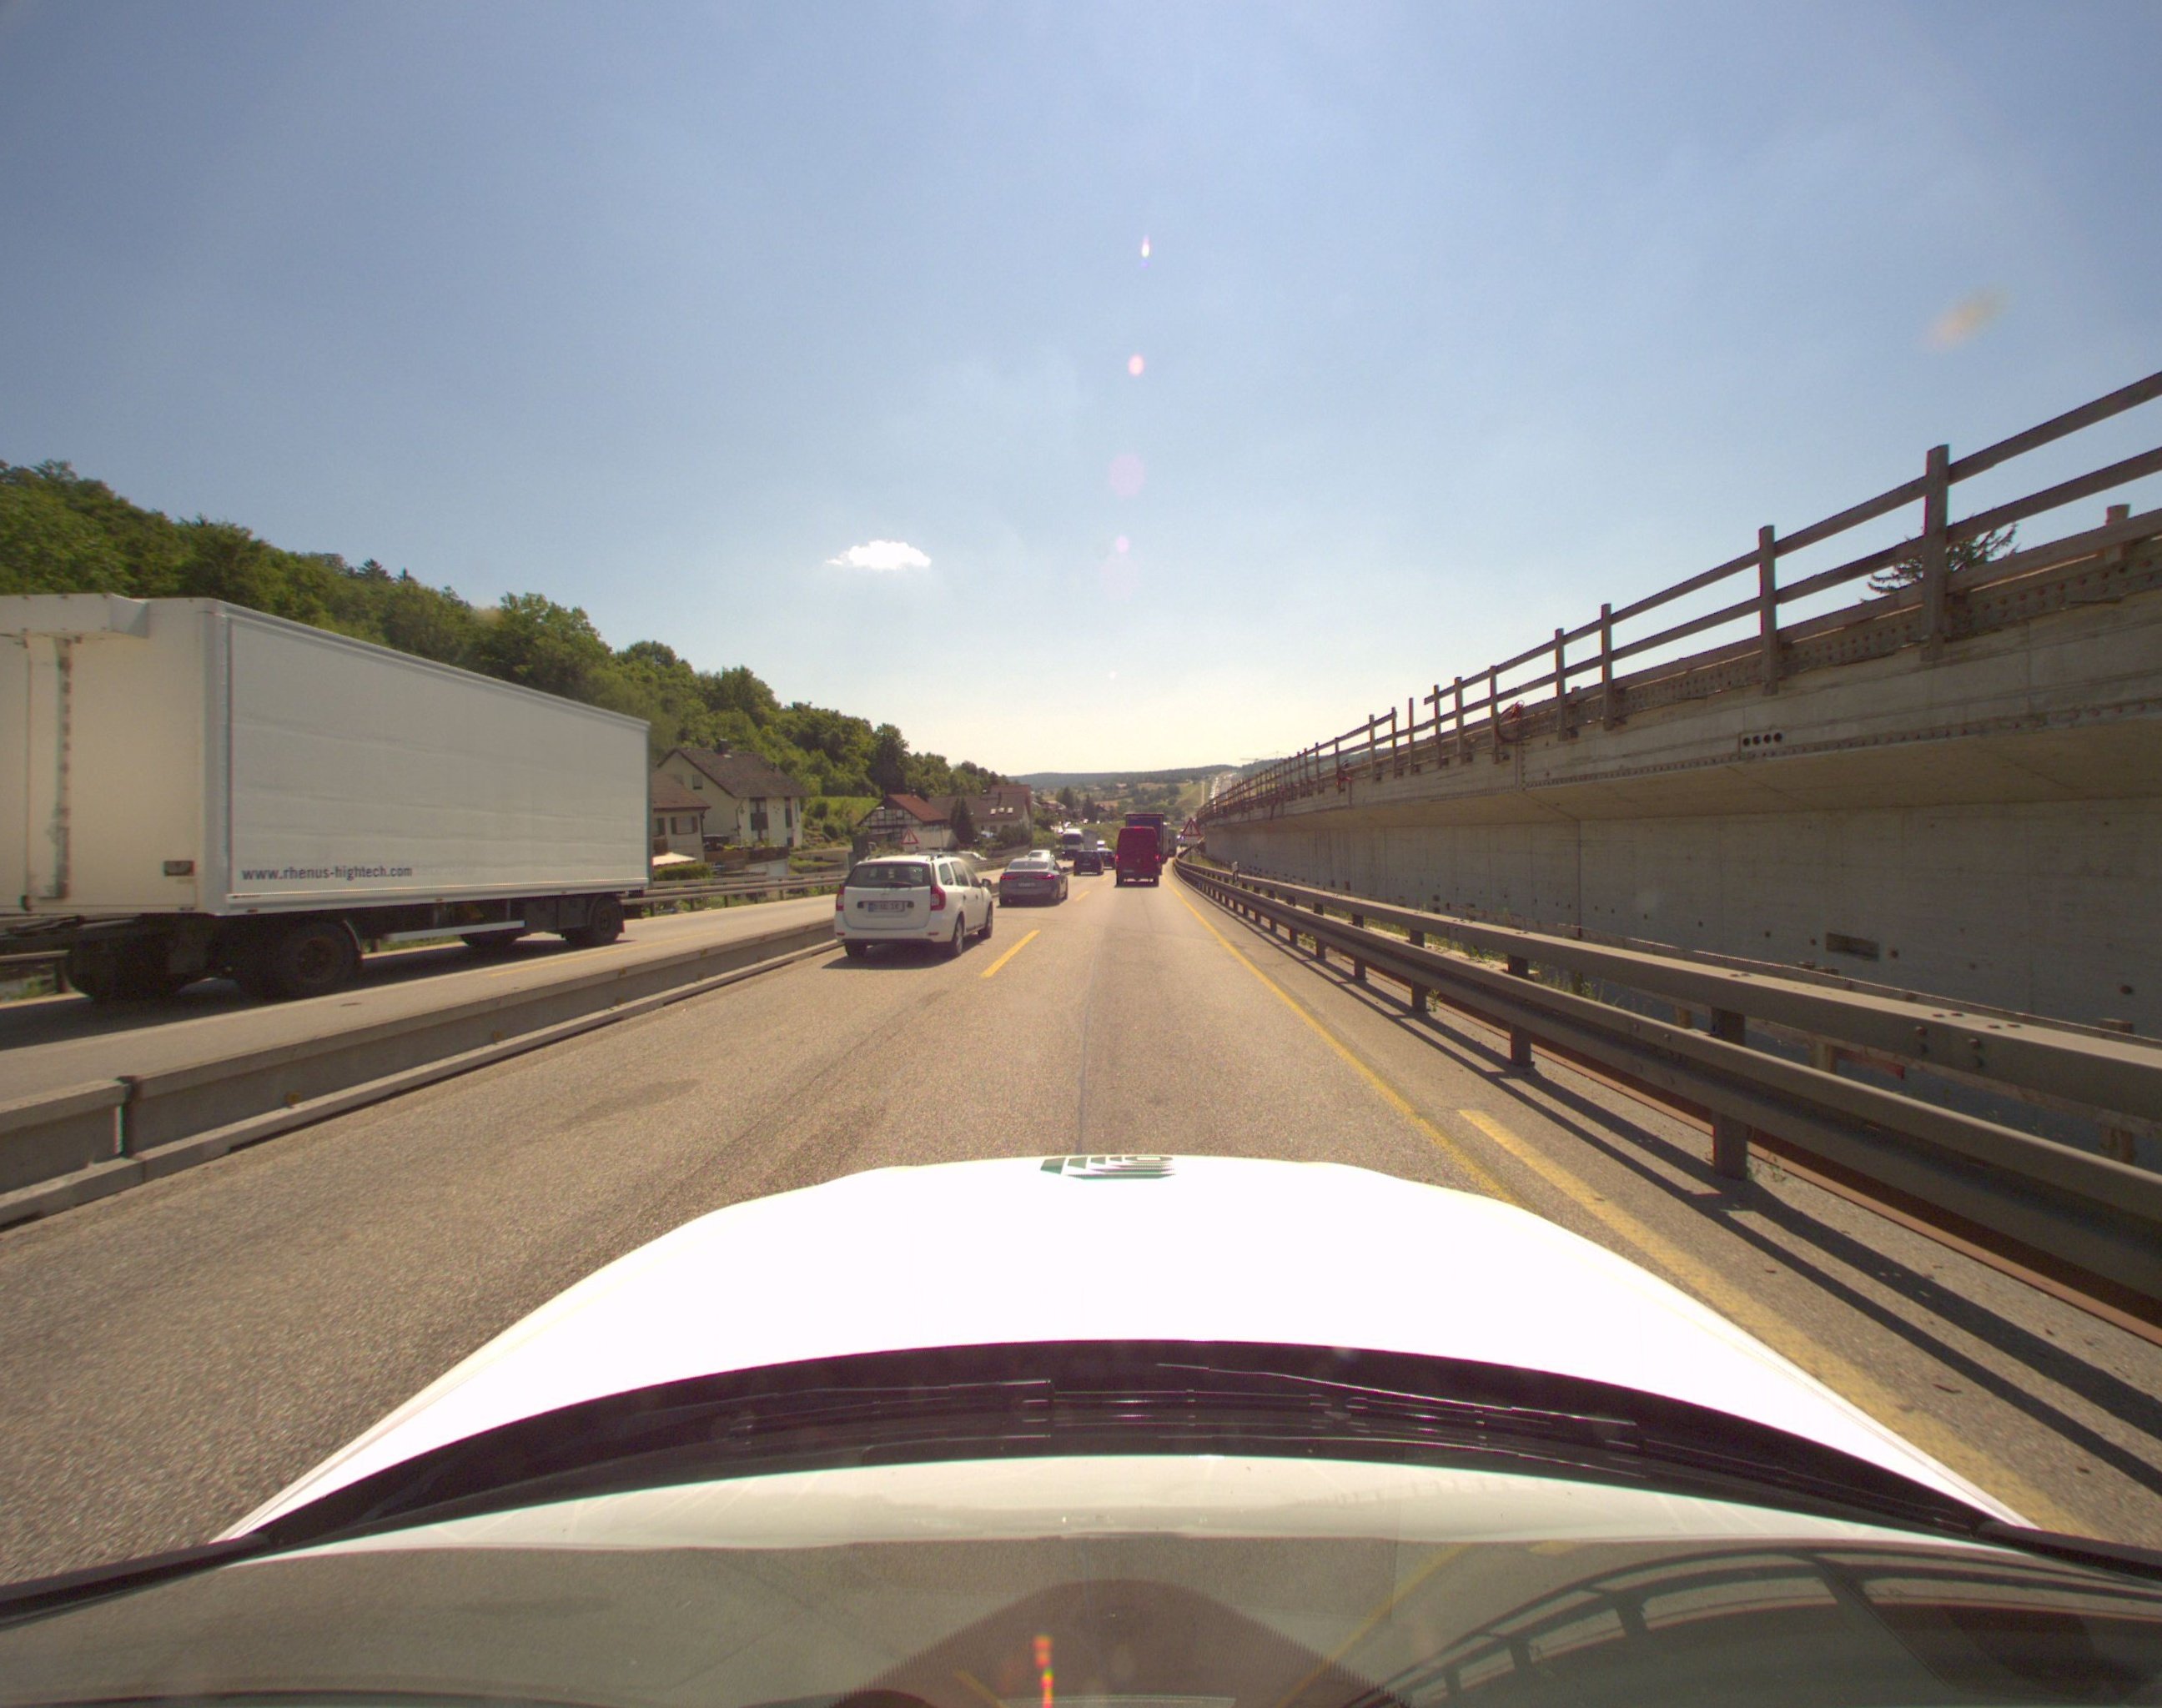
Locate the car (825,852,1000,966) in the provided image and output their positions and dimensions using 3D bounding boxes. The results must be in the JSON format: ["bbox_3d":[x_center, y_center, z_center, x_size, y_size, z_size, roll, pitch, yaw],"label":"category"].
[{"bbox_3d":[-2.531,0.773,13.284,1.644,1.483,4.270,-3,-1,4],"label":"car"}]

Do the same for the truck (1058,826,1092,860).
[{"bbox_3d":[-0.668,-1.361,101.536,3.117,4.079,6.895,-1,0,8],"label":"truck"}]

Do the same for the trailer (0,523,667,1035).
[{"bbox_3d":[-9.646,-0.596,11.170,2.992,4.165,9.022,-1,0,2],"label":"trailer"}]

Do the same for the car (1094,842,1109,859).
[{"bbox_3d":[3.399,-0.606,133.569,1.995,2.603,5.989,-1,0,5],"label":"car"}]

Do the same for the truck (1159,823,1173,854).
[{"bbox_3d":[12.460,-2.233,119.006,1.984,4.381,4.006,-1,-1,6],"label":"truck"}]

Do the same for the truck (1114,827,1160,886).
[{"bbox_3d":[2.684,0.151,37.943,1.984,2.579,4.006,-1,-1,6],"label":"truck"}]

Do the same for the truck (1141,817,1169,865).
[{"bbox_3d":[7.961,-1.256,87.559,2.773,4.816,9.697,-1,-1,5],"label":"truck"}]

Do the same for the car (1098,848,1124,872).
[{"bbox_3d":[2.429,0.501,65.188,1.720,1.838,4.007,-1,-1,6],"label":"car"}]

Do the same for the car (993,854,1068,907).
[{"bbox_3d":[-1.475,0.763,25.224,1.787,1.485,4.054,-1,0,4],"label":"car"}]

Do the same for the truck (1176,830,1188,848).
[{"bbox_3d":[26.353,-3.803,212.757,3.054,4.381,8.570,-1,-1,6],"label":"truck"}]

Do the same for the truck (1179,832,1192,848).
[{"bbox_3d":[29.962,-4.034,234.176,3.450,4.381,8.570,-1,-1,6],"label":"truck"}]

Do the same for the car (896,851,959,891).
[{"bbox_3d":[-7.199,0.806,38.729,1.898,1.742,4.665,-1,-1,3],"label":"car"}]

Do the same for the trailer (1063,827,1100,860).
[{"bbox_3d":[0.205,-1.364,107.772,3.118,4.079,11.846,-1,0,8],"label":"trailer"}]

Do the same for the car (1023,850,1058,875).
[{"bbox_3d":[-2.793,0.595,57.338,1.741,1.687,4.394,-1,-1,6],"label":"car"}]

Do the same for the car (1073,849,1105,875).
[{"bbox_3d":[0.557,0.552,53.327,1.802,1.608,3.723,-1,-1,4],"label":"car"}]

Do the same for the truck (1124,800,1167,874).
[{"bbox_3d":[4.703,-1.047,58.845,2.773,4.816,9.697,-1,-1,5],"label":"truck"}]

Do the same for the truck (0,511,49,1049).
[{"bbox_3d":[-10.063,-0.529,1.334,2.966,4.162,10.552,-1,0,3],"label":"truck"}]
